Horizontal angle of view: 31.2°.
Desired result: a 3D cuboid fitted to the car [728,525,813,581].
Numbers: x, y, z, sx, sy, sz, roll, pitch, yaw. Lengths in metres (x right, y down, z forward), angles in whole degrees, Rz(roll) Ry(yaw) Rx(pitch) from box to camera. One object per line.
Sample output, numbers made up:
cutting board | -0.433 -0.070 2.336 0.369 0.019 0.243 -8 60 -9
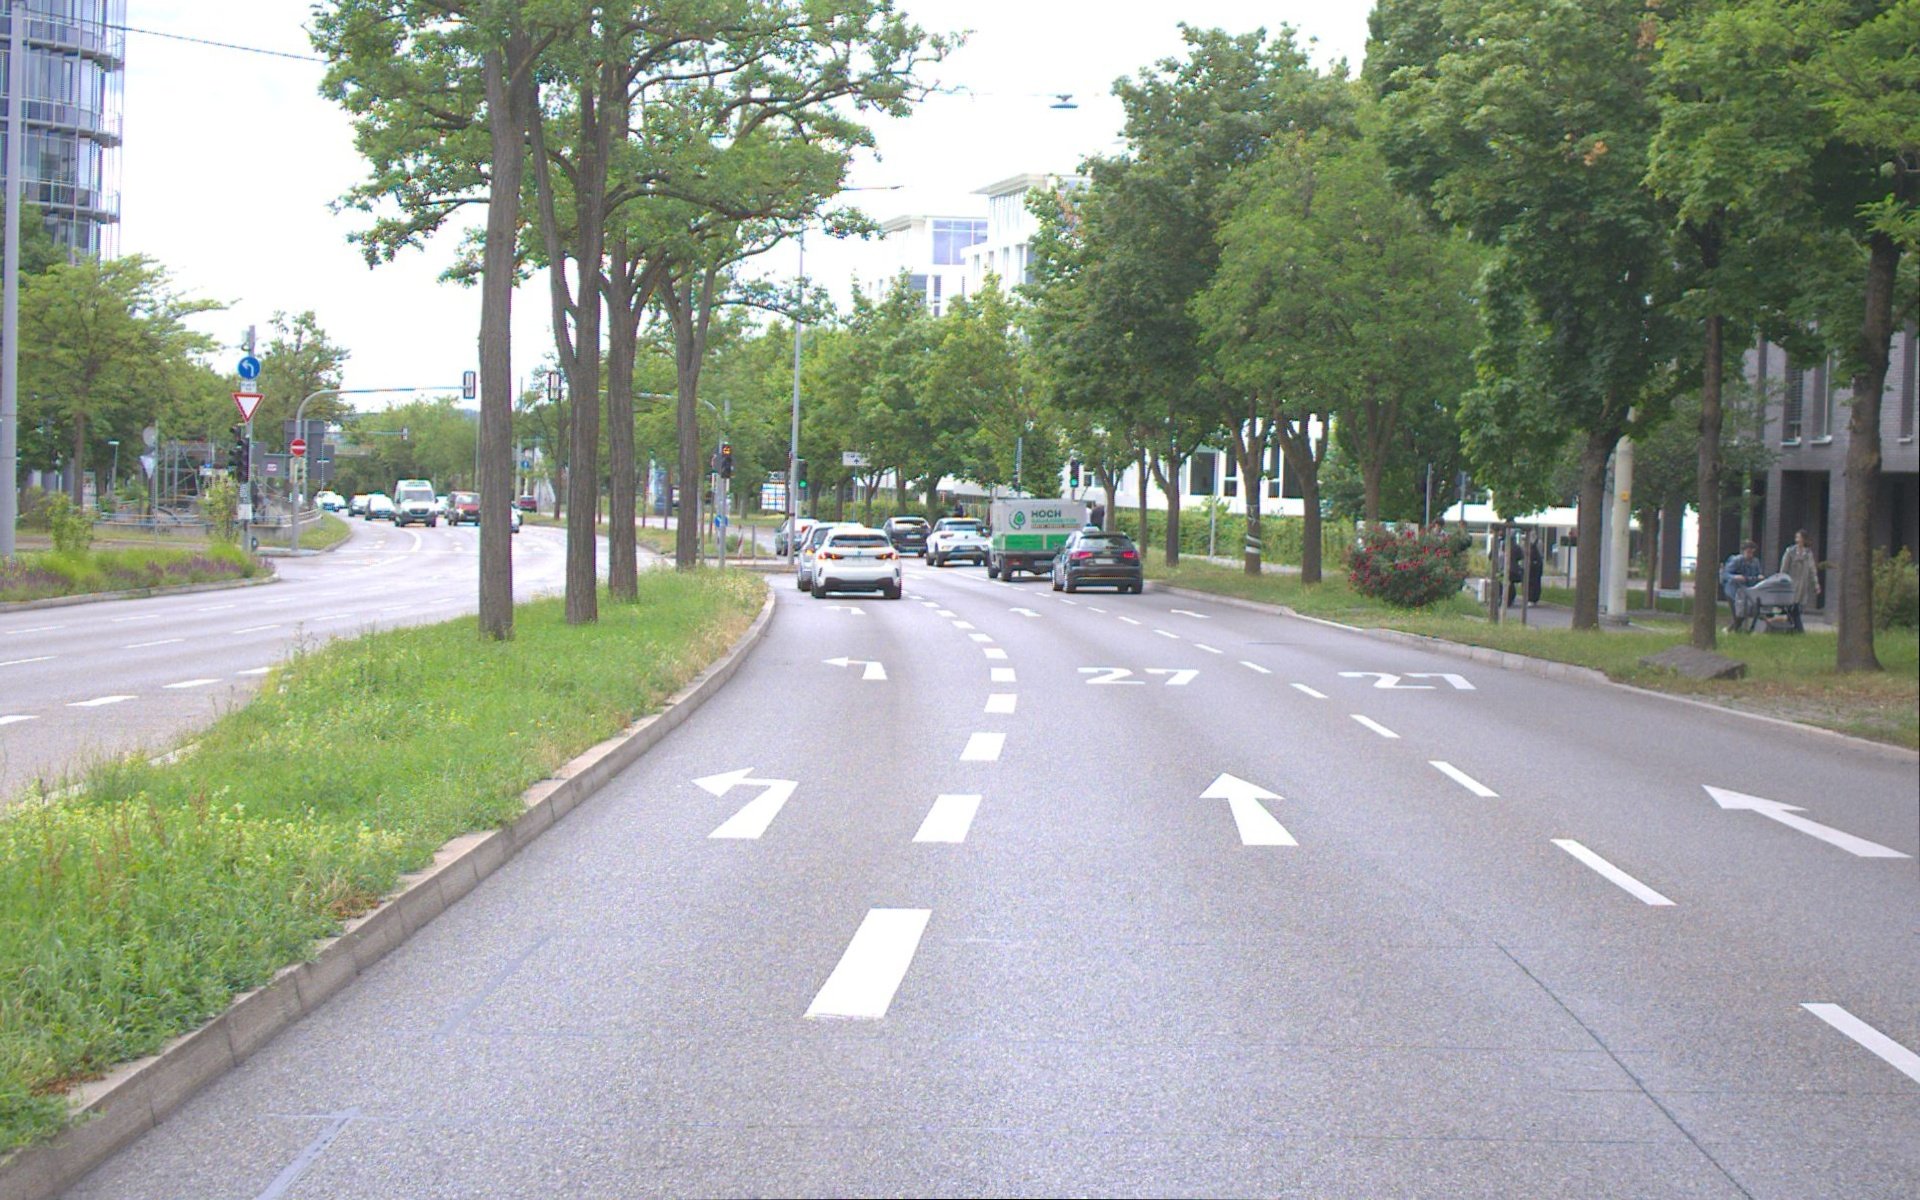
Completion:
car | -5.375 -1.343 97.949 1.994 1.503 4.000 2 1 3

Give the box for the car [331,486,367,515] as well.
car | -41.261 -6.734 232.305 1.993 1.846 4.325 3 1 -6

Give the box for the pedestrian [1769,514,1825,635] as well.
pedestrian | 11.906 -0.362 48.894 0.567 1.694 0.829 2 1 2

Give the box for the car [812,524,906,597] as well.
car | -2.086 -0.839 72.115 1.863 1.444 4.000 2 1 -1

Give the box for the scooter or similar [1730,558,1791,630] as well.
scooter or similar | 11.167 -0.090 47.966 0.583 0.990 0.847 0 1 -6

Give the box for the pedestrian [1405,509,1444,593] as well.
pedestrian | 10.025 -1.061 74.213 0.608 1.769 0.954 2 3 -3

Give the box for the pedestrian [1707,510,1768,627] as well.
pedestrian | 11.053 -0.453 48.863 0.555 1.647 0.962 0 1 -6

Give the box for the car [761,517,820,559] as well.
car | -6.424 -2.360 130.081 1.993 1.485 4.001 2 1 -6

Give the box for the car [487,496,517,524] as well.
car | -34.299 -6.720 257.413 1.993 2.004 4.325 3 1 -6

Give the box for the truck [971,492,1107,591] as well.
truck | 2.083 -1.583 93.101 2.859 2.511 6.289 1 1 -6

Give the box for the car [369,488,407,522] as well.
car | -36.032 -5.959 216.514 1.993 2.004 4.325 3 1 -6

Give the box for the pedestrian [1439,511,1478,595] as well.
pedestrian | 10.749 -1.019 74.165 0.608 1.769 0.954 2 3 -3

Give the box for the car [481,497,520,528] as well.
car | -23.293 -4.428 174.488 1.752 1.439 4.136 3 1 -6

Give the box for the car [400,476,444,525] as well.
car | -30.320 -5.604 193.788 1.993 2.625 5.876 3 1 -6

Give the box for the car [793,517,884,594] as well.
car | -2.791 -1.032 78.806 1.993 1.666 4.000 2 1 -2

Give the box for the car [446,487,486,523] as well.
car | -28.642 -5.512 199.343 1.993 1.924 4.001 3 1 -6

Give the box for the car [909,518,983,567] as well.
car | -0.473 -1.880 111.025 1.993 1.503 4.001 1 1 -5

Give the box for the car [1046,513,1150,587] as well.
car | 3.111 -1.153 78.455 1.993 1.590 4.001 2 1 -3

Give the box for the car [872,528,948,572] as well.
car | -1.846 -1.836 125.563 1.993 1.503 4.001 1 1 -12

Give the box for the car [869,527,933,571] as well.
car | -2.202 -1.895 126.784 1.993 1.485 4.001 2 1 -6
